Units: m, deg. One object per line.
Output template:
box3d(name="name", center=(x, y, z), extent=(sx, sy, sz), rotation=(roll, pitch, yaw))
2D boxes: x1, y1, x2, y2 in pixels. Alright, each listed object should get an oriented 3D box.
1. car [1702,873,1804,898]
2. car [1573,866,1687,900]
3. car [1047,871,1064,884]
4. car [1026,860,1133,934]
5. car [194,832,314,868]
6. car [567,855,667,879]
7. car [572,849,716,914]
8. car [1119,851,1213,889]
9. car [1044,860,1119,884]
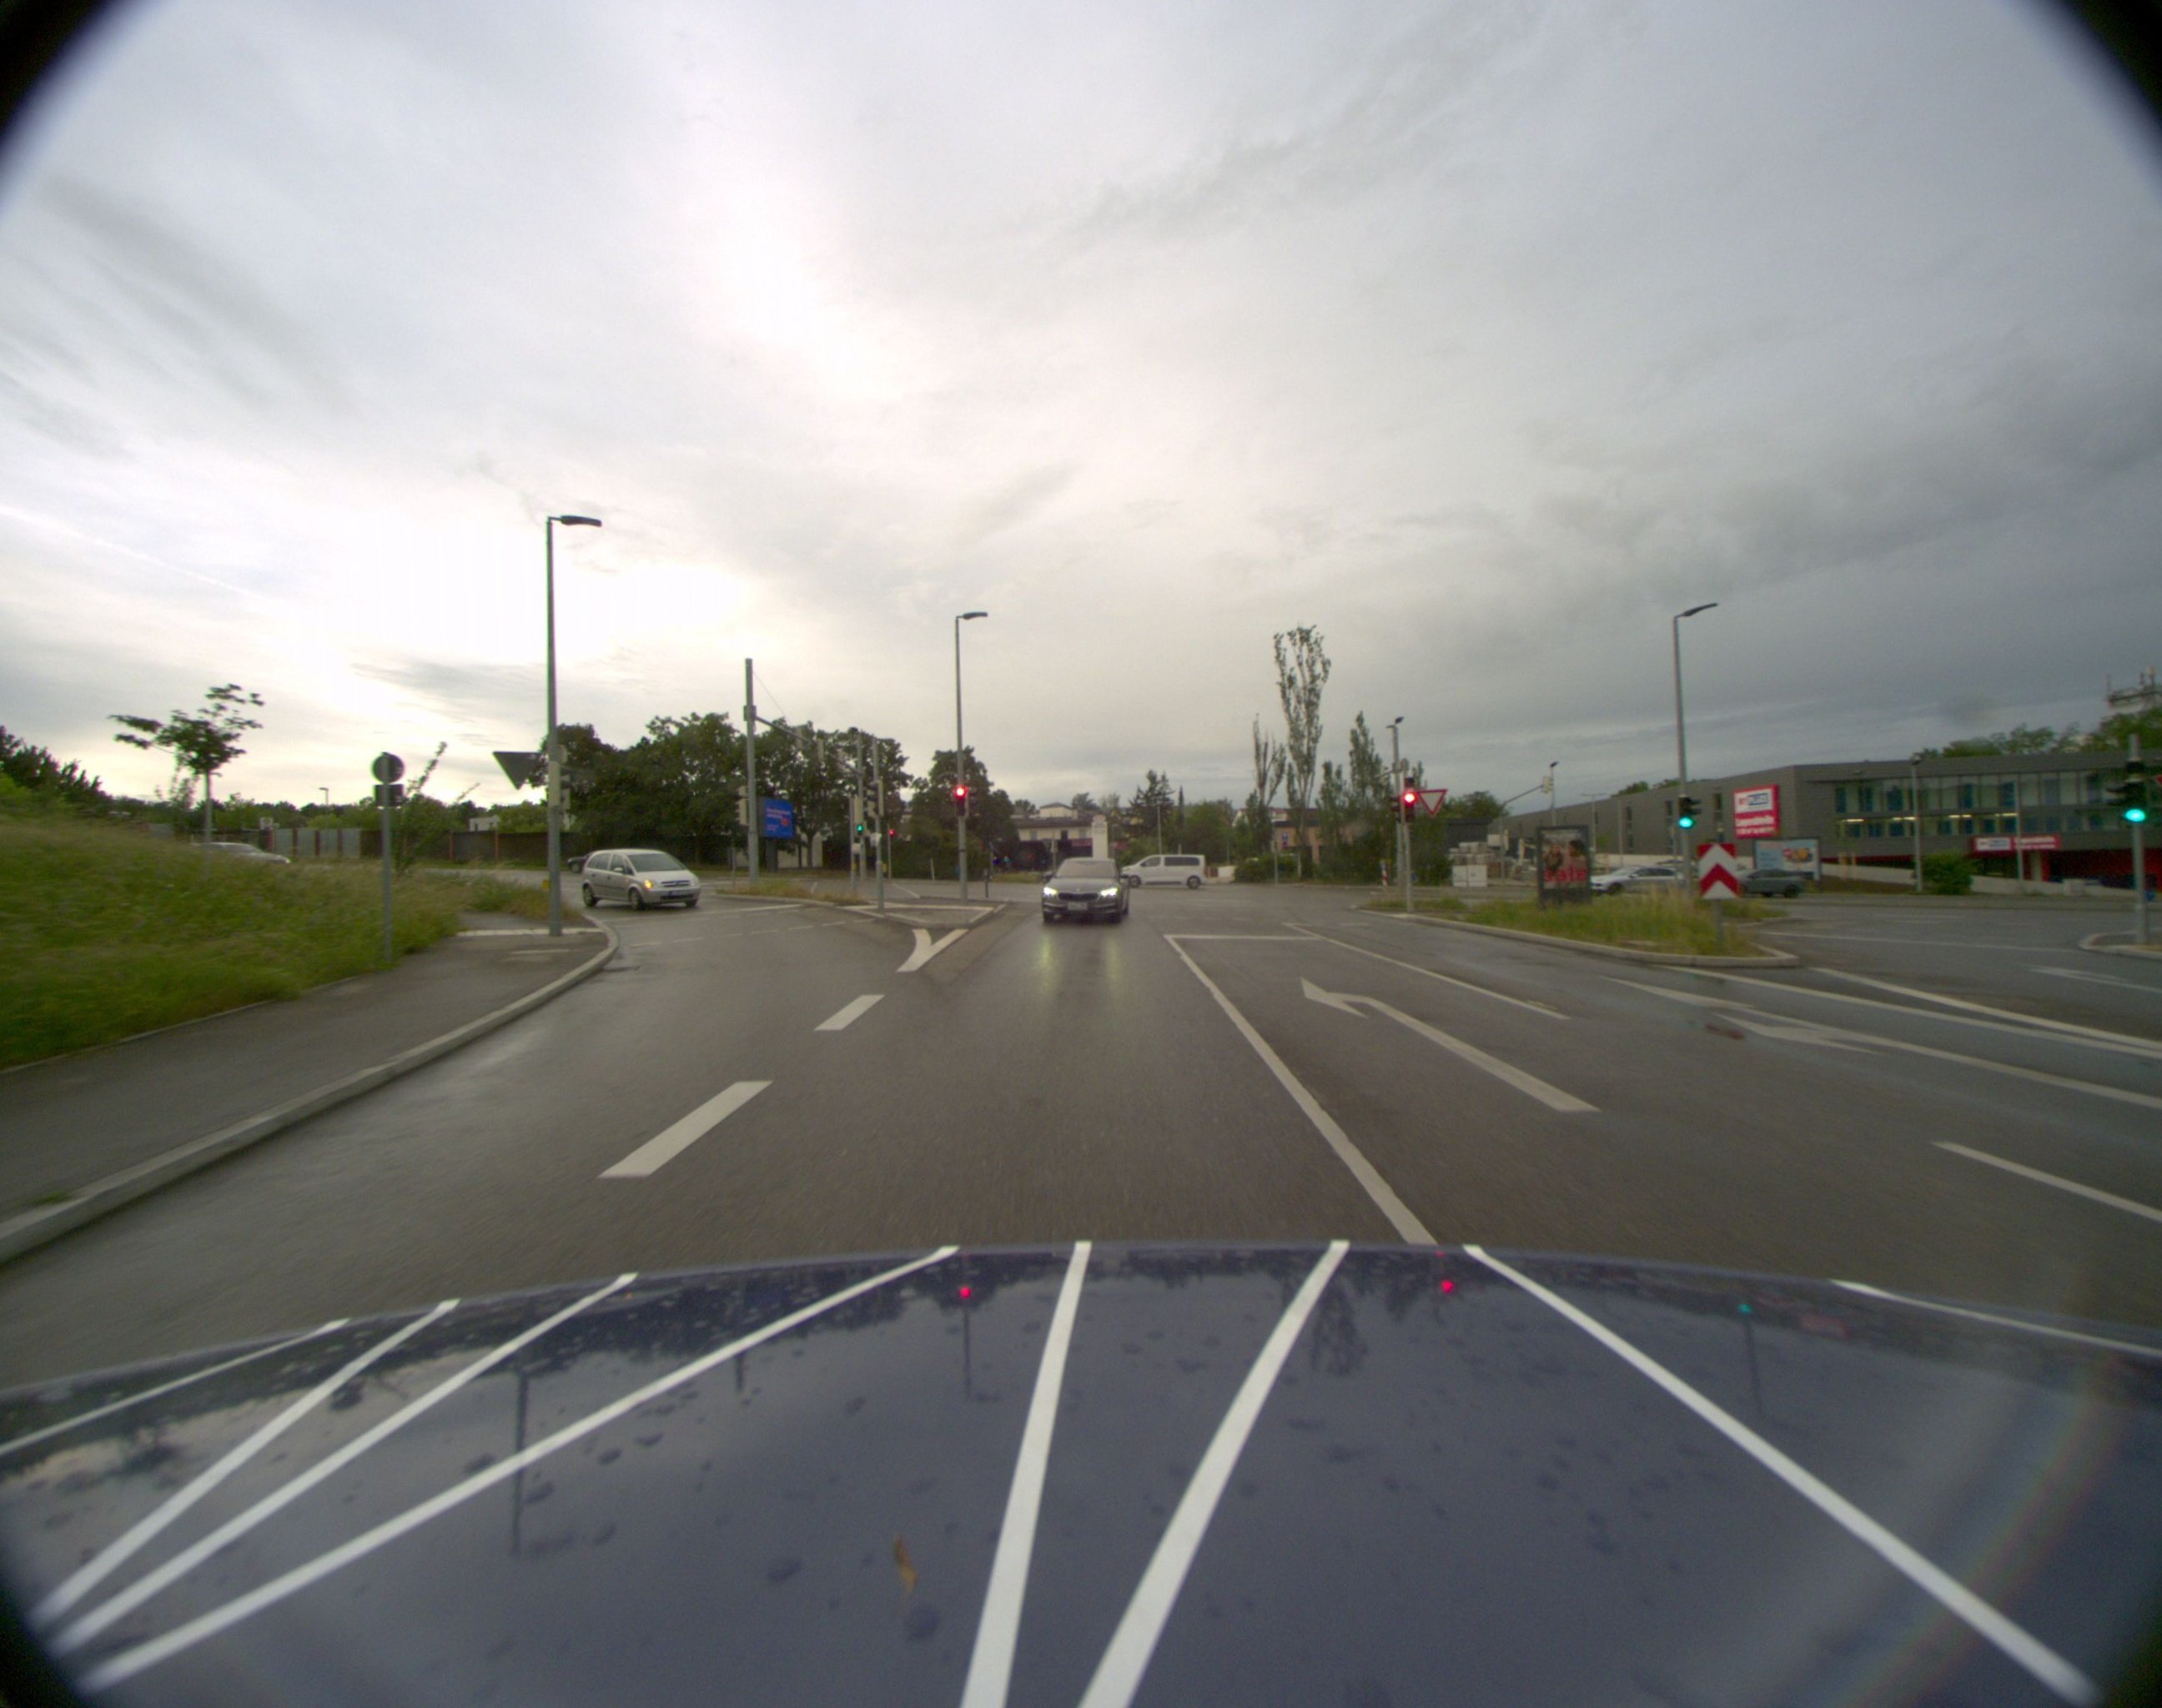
box3d(name="car", center=(38.305, 1.780, 43.375), extent=(4.037, 1.396, 1.841), rotation=(0, -1, 6))
box3d(name="car", center=(29.281, 1.520, 40.631), extent=(4.619, 1.692, 1.842), rotation=(1, -1, 7))
box3d(name="car", center=(-3.206, 2.945, 95.741), extent=(1.745, 1.641, 4.002), rotation=(1, -1, 3))
box3d(name="car", center=(0.110, 0.874, 16.951), extent=(1.838, 1.448, 4.205), rotation=(0, -1, 7))
box3d(name="car", center=(-40.525, -0.193, 37.294), extent=(3.996, 1.664, 1.824), rotation=(1, -1, 4))
box3d(name="car", center=(-30.486, 0.837, 49.994), extent=(5.528, 1.491, 1.841), rotation=(1, -1, 5))
box3d(name="car", center=(-12.333, 0.719, 21.387), extent=(4.051, 1.596, 1.826), rotation=(0, 3, 34))
box3d(name="car", center=(4.789, 0.892, 43.172), extent=(5.188, 2.022, 1.841), rotation=(1, -1, 4))
box3d(name="car", center=(0.080, 1.091, 46.992), extent=(4.477, 1.396, 1.841), rotation=(1, -1, 5))
